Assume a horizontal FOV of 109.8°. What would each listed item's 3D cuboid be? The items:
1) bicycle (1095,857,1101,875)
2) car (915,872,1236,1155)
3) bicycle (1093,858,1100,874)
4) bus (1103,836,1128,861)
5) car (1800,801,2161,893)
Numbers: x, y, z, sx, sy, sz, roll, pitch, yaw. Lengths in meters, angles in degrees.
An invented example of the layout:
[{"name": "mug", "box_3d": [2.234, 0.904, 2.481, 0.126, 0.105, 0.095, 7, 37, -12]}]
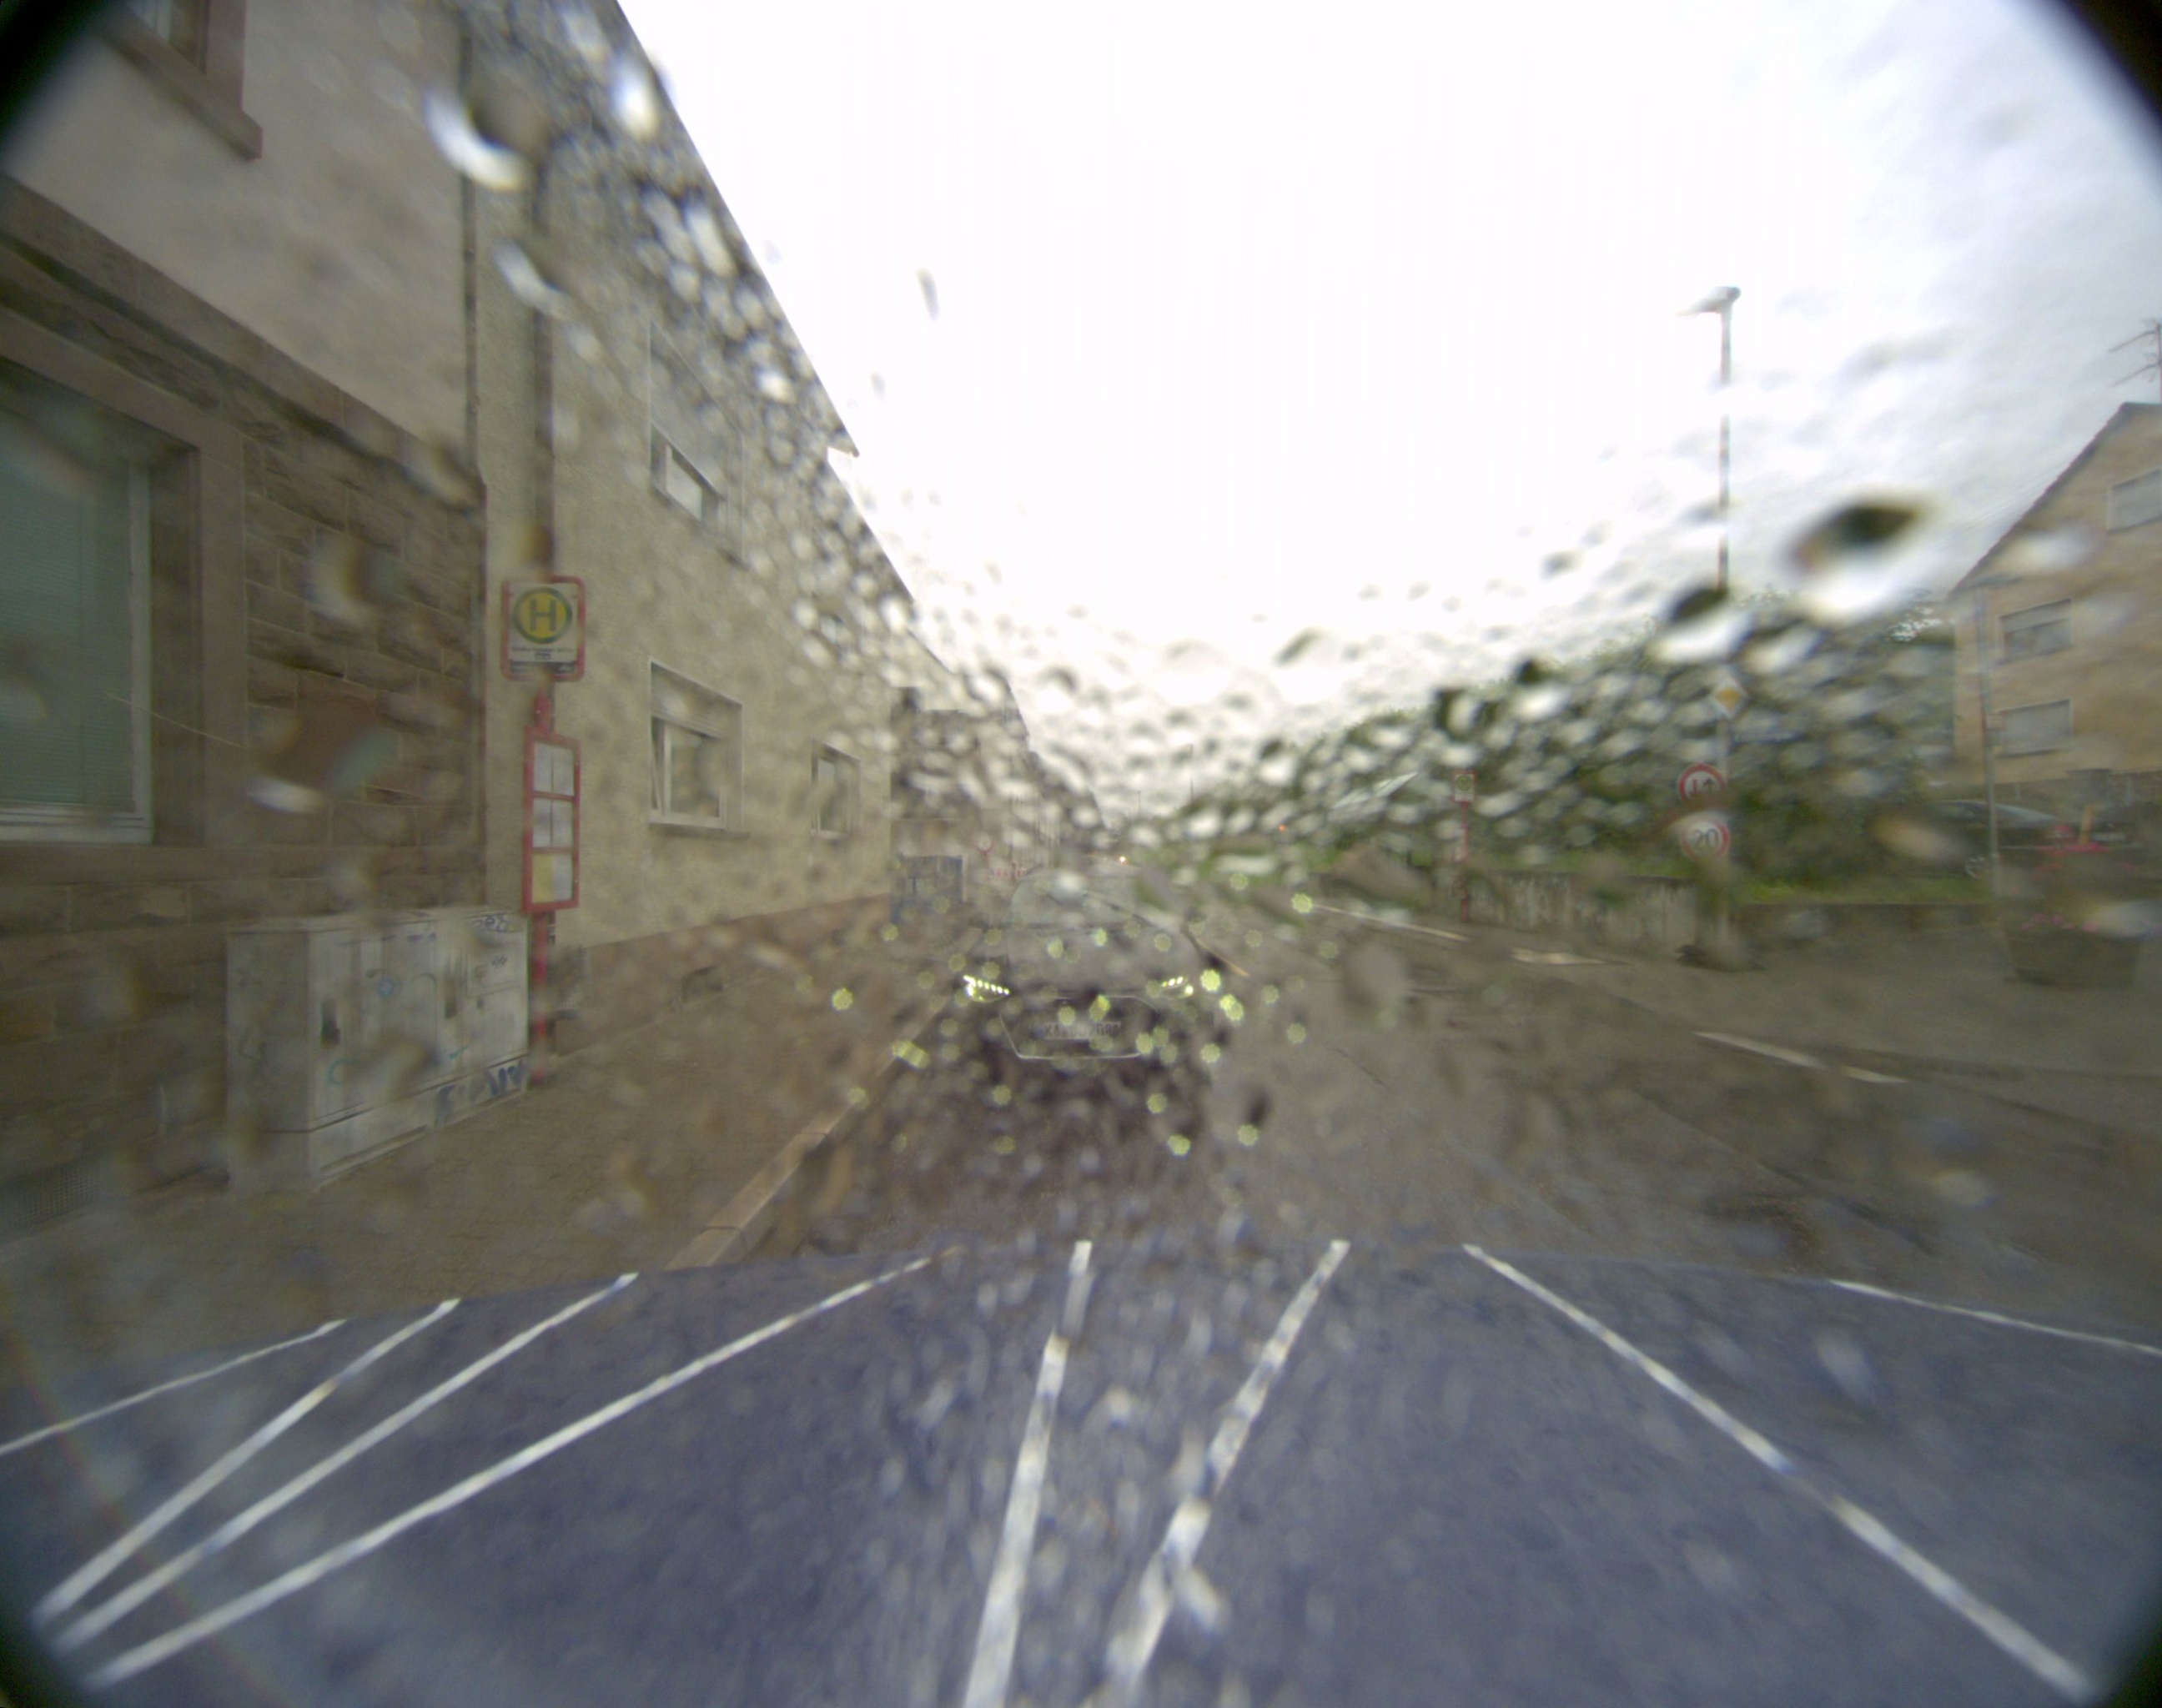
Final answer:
[{"name": "bicycle", "box_3d": [1.131, 0.803, 50.343, 0.407, 1.137, 1.221, 1, 1, 2]}, {"name": "car", "box_3d": [-0.006, 0.986, 6.705, 1.851, 1.444, 4.531, 1, 1, 1]}, {"name": "bicycle", "box_3d": [1.073, 0.823, 52.580, 0.407, 1.023, 1.221, 1, 1, 2]}, {"name": "bus", "box_3d": [4.454, -0.824, 100.883, 2.685, 2.988, 14.542, 1, 1, 0]}, {"name": "car", "box_3d": [15.910, -0.217, 13.763, 1.749, 1.382, 4.220, -1, 3, 0]}]
